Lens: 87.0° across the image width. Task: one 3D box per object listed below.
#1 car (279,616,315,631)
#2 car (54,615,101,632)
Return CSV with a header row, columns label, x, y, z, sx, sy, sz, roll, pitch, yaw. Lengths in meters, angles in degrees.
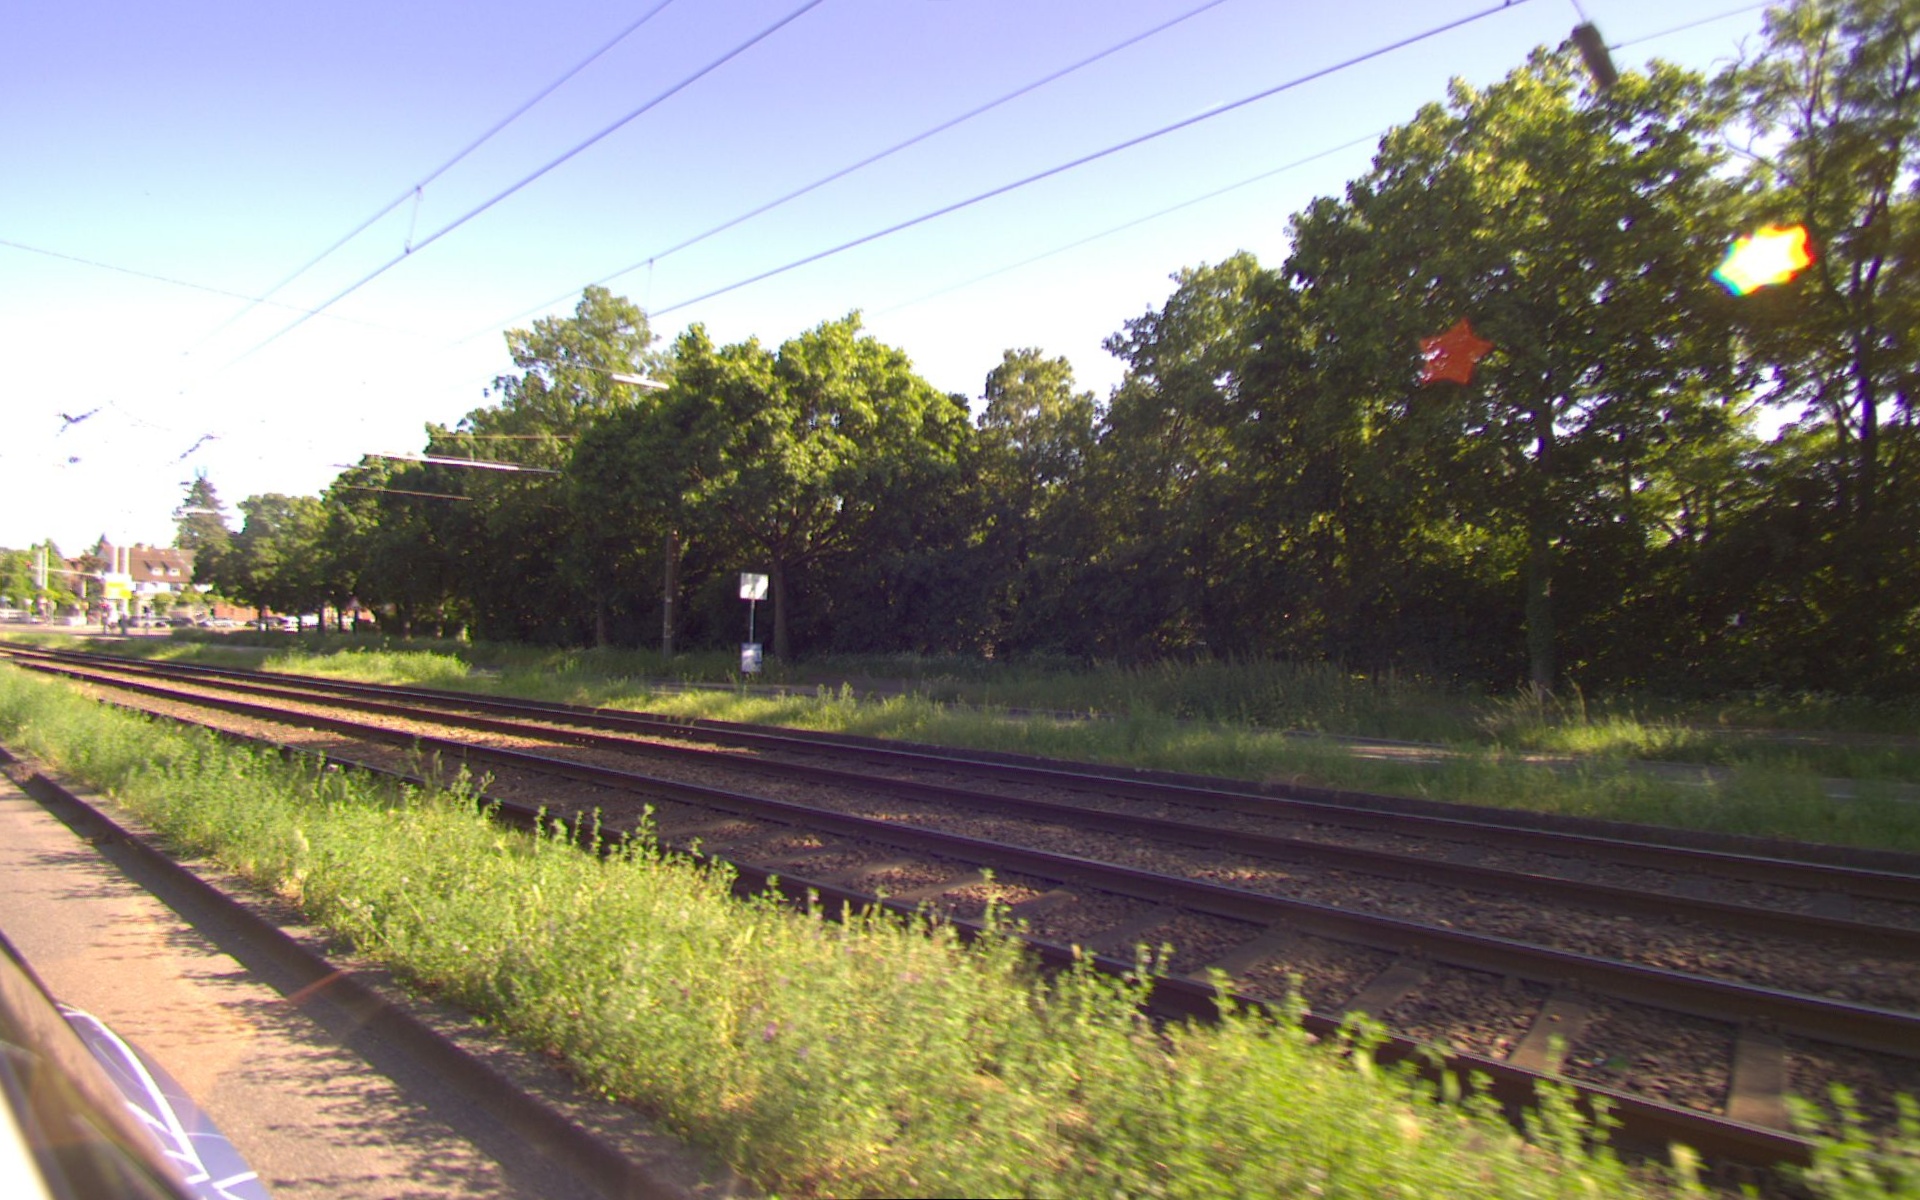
label,x,y,z,sx,sy,sz,roll,pitch,yaw
car,-94.918,3.336,144.868,1.958,1.962,3.972,-1,0,21
car,-109.081,2.934,125.177,1.958,1.962,3.972,-1,0,21
